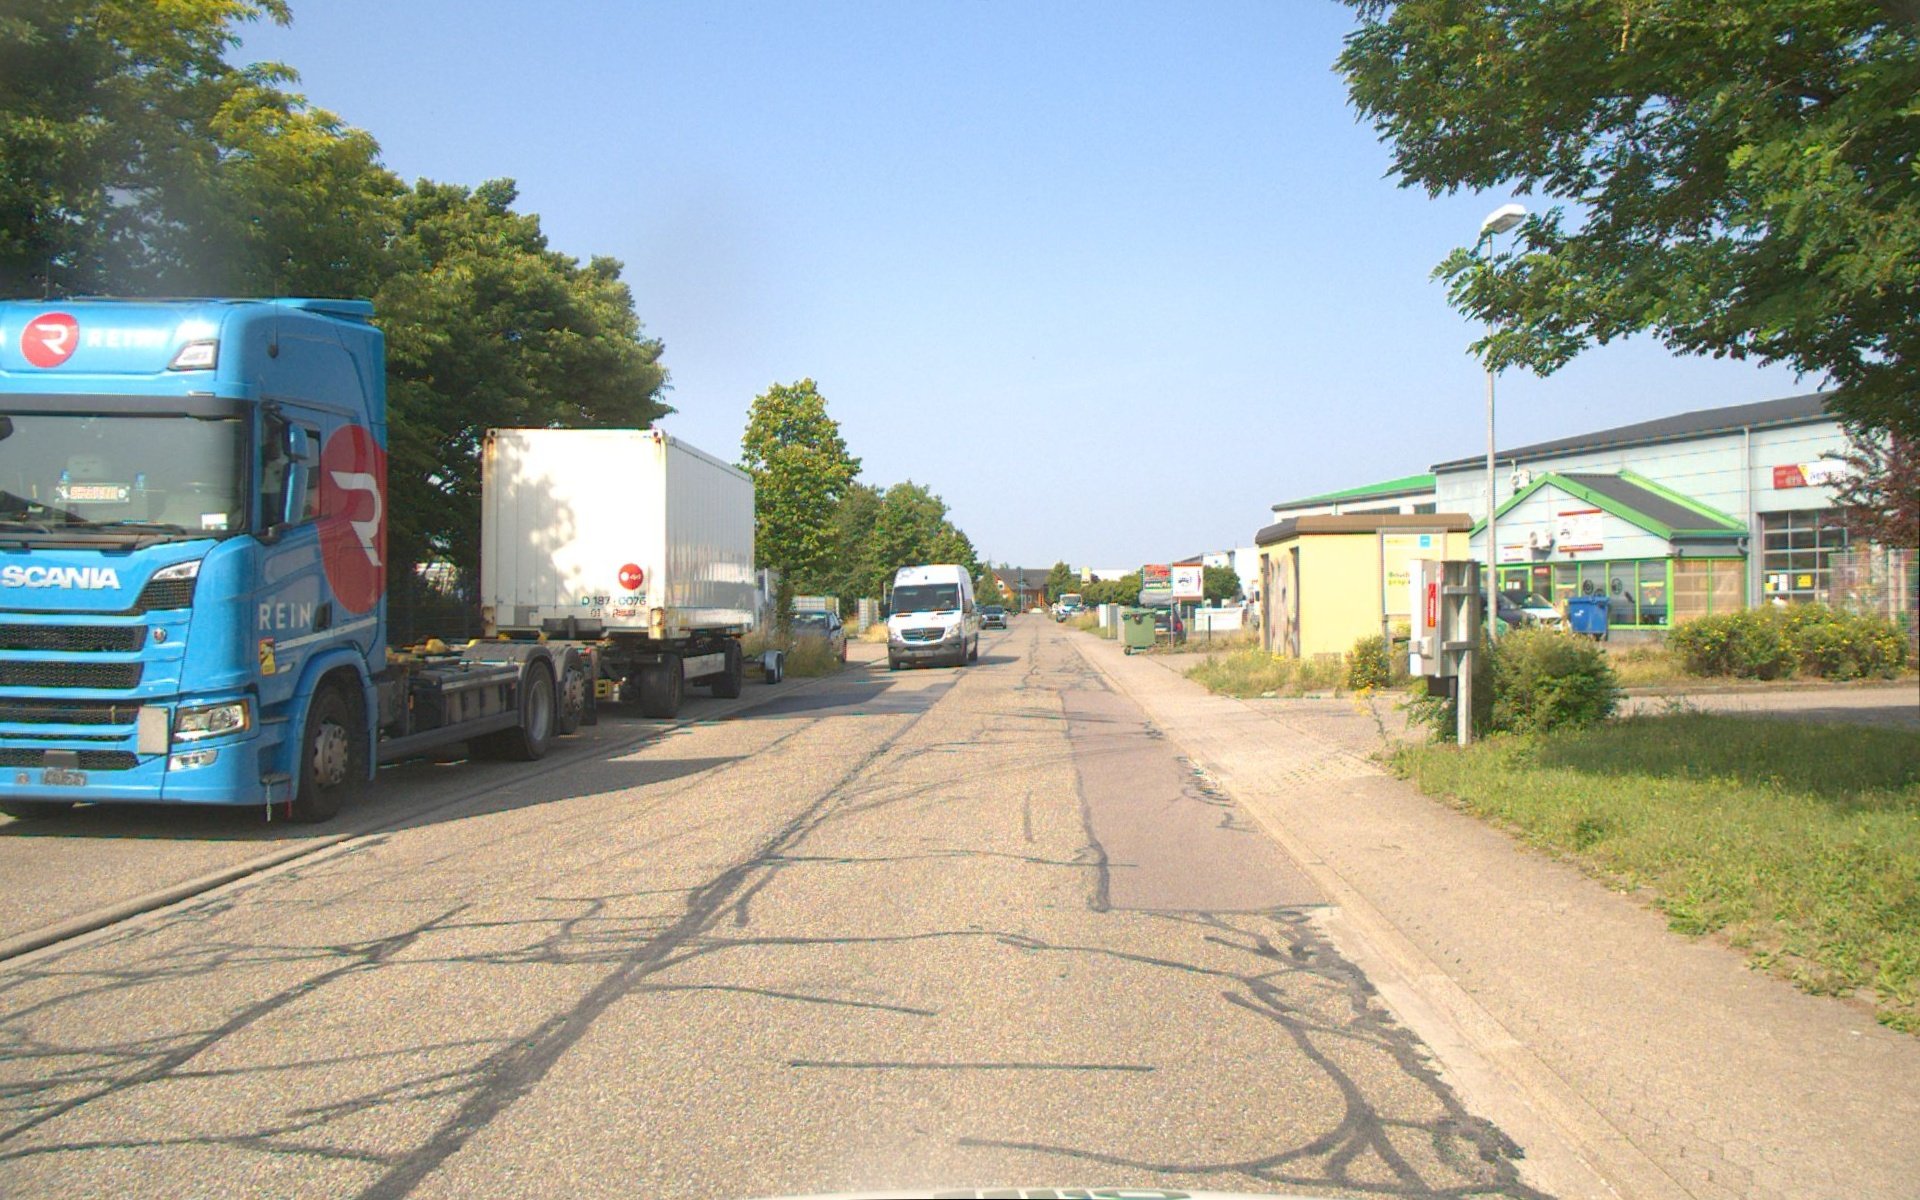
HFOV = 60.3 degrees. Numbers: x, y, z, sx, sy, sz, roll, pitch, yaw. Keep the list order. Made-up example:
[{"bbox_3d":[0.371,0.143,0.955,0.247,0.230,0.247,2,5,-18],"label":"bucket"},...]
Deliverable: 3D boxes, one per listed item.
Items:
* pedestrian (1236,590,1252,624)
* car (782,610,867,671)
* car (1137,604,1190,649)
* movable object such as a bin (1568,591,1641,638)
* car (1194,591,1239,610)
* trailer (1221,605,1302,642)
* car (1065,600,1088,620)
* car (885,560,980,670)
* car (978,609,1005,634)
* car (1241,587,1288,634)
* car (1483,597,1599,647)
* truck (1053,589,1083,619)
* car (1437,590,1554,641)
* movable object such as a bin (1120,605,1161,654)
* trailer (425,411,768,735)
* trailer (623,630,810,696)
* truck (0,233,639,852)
[{"bbox_3d":[14.149,0.347,82.347,0.688,1.668,0.749,-1,0,4],"label":"pedestrian"},{"bbox_3d":[-3.609,1.058,44.573,1.652,1.496,4.095,-1,0,4],"label":"car"},{"bbox_3d":[6.791,0.858,55.175,1.638,1.392,4.397,-1,0,7],"label":"car"},{"bbox_3d":[19.337,0.433,49.681,0.981,1.369,1.997,-1,0,-19],"label":"movable object such as a bin"},{"bbox_3d":[23.742,0.047,152.736,4.495,1.617,1.662,-1,0,-42],"label":"car"},{"bbox_3d":[10.671,0.830,58.742,1.470,1.270,2.956,0,0,-23],"label":"trailer"},{"bbox_3d":[9.406,0.818,133.686,1.757,1.544,4.425,-1,0,2],"label":"car"},{"bbox_3d":[-0.624,0.354,43.430,1.952,2.591,6.992,-2,0,3],"label":"car"},{"bbox_3d":[2.279,1.539,118.436,1.774,1.655,4.250,-2,0,2],"label":"car"},{"bbox_3d":[18.559,0.609,100.949,1.933,2.753,5.882,-1,0,2],"label":"car"},{"bbox_3d":[16.949,0.635,48.382,1.556,1.369,3.170,-1,0,-19],"label":"car"},{"bbox_3d":[10.248,0.358,157.199,2.311,2.728,6.509,-1,0,-1],"label":"truck"},{"bbox_3d":[15.168,0.428,47.006,1.556,1.369,3.170,-1,0,-19],"label":"car"},{"bbox_3d":[5.391,0.873,49.441,1.058,1.377,1.506,-4,0,3],"label":"movable object such as a bin"},{"bbox_3d":[-5.016,-0.326,25.115,2.643,3.952,9.768,0,0,2],"label":"trailer"},{"bbox_3d":[-4.702,1.205,33.104,2.594,1.002,6.244,-2,0,2],"label":"trailer"},{"bbox_3d":[-5.524,-0.358,15.434,2.656,3.952,9.639,0,0,3],"label":"truck"}]
